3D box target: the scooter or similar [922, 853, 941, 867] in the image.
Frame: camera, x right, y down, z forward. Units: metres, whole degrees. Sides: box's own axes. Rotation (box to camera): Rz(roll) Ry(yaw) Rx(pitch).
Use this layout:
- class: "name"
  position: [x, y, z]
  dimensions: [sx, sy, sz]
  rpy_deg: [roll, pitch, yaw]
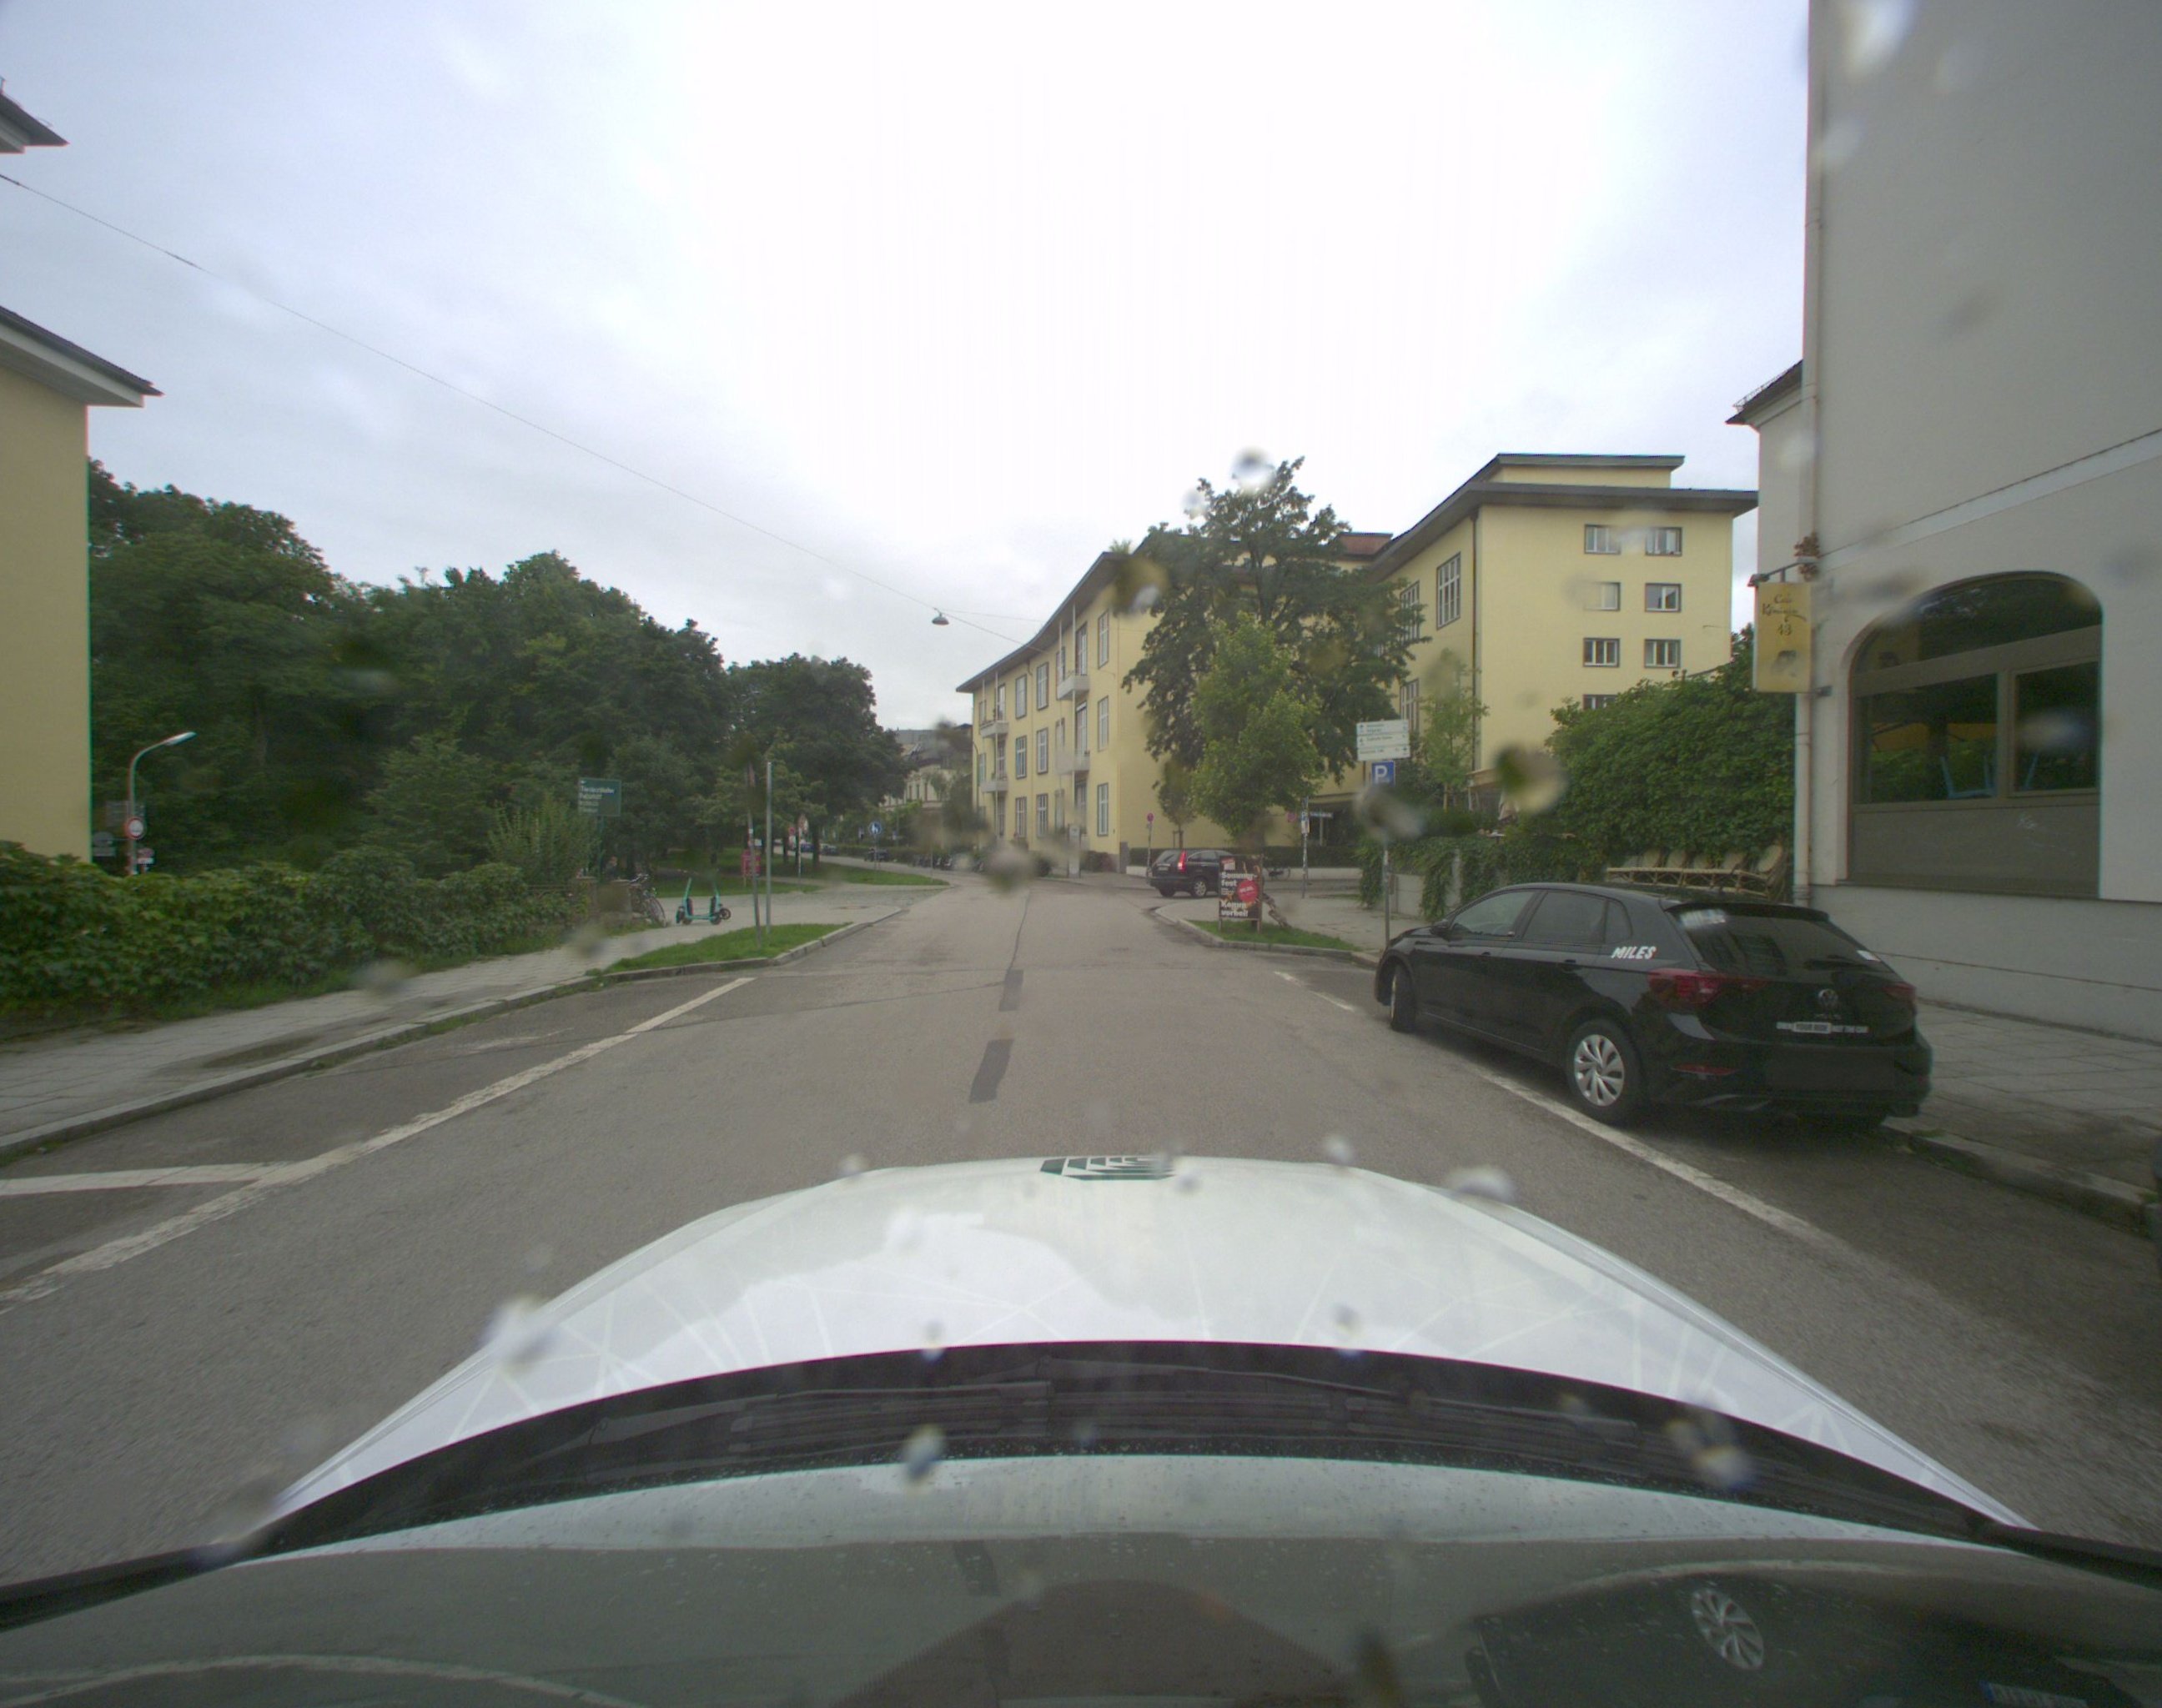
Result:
- class: "scooter or similar"
  position: [-12.073, 0.518, 65.815]
  dimensions: [1.404, 1.088, 0.595]
  rpy_deg: [-1, 1, -9]

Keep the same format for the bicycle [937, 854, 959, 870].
- class: "bicycle"
  position: [-9.662, 0.572, 59.280]
  dimensions: [0.631, 1.085, 1.997]
  rpy_deg: [-1, 1, 23]

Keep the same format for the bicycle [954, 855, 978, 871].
- class: "bicycle"
  position: [-8.195, 0.638, 58.030]
  dimensions: [0.570, 1.085, 1.946]
  rpy_deg: [-1, 1, 31]

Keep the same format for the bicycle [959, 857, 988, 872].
- class: "bicycle"
  position: [-7.366, 0.720, 55.839]
  dimensions: [1.834, 1.005, 0.572]
  rpy_deg: [-1, 1, -29]

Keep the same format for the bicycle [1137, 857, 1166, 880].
- class: "bicycle"
  position: [3.459, 0.685, 40.120]
  dimensions: [0.610, 1.072, 2.204]
  rpy_deg: [-1, 1, -17]

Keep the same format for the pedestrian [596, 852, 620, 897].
- class: "pedestrian"
  position: [-18.729, 0.787, 32.267]
  dimensions: [0.732, 1.752, 0.654]
  rpy_deg: [-1, 0, -22]

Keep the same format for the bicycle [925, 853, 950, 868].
- class: "bicycle"
  position: [-10.866, 0.476, 61.768]
  dimensions: [0.756, 1.085, 2.153]
  rpy_deg: [-1, 1, 23]

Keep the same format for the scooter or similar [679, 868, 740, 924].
- class: "scooter or similar"
  position: [-8.766, 0.980, 19.236]
  dimensions: [0.441, 1.220, 1.189]
  rpy_deg: [-3, 0, 36]

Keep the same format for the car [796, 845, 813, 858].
- class: "car"
  position: [-41.266, -0.410, 121.698]
  dimensions: [1.886, 1.816, 3.965]
  rpy_deg: [0, 0, -27]

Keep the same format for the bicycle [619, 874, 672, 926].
- class: "bicycle"
  position: [-10.384, 1.072, 19.398]
  dimensions: [1.482, 1.134, 0.658]
  rpy_deg: [0, 0, 43]

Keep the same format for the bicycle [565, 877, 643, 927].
- class: "bicycle"
  position: [-11.862, 1.198, 20.274]
  dimensions: [1.718, 1.134, 0.657]
  rpy_deg: [-4, -1, 19]

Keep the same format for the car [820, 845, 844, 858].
- class: "car"
  position: [-31.704, -0.302, 103.572]
  dimensions: [2.188, 1.657, 4.466]
  rpy_deg: [0, 0, -27]

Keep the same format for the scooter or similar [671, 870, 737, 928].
- class: "scooter or similar"
  position: [-8.534, 1.013, 18.460]
  dimensions: [1.173, 1.220, 0.602]
  rpy_deg: [-3, 0, 1]

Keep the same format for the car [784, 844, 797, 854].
- class: "car"
  position: [-50.111, -0.891, 140.509]
  dimensions: [1.653, 1.652, 4.248]
  rpy_deg: [0, 0, -26]

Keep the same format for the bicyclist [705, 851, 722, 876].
- class: "bicyclist"
  position: [-21.414, 0.549, 47.450]
  dimensions: [0.624, 1.460, 0.647]
  rpy_deg: [0, 0, 10]

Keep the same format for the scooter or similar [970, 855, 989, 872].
- class: "scooter or similar"
  position: [-6.784, 0.643, 54.553]
  dimensions: [0.490, 1.109, 1.418]
  rpy_deg: [-1, 1, 27]

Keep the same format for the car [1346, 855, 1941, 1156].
- class: "car"
  position: [3.731, 0.839, 6.405]
  dimensions: [1.700, 1.518, 3.953]
  rpy_deg: [4, 0, -4]

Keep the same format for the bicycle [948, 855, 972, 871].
- class: "bicycle"
  position: [-8.689, 0.653, 58.588]
  dimensions: [0.570, 1.085, 1.946]
  rpy_deg: [-1, 1, 31]

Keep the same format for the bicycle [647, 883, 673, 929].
- class: "bicycle"
  position: [-9.267, 1.124, 17.954]
  dimensions: [0.472, 0.923, 1.194]
  rpy_deg: [0, 0, -26]

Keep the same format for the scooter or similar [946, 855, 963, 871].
- class: "scooter or similar"
  position: [-9.156, 0.626, 58.941]
  dimensions: [0.490, 1.088, 1.418]
  rpy_deg: [-1, 1, 27]

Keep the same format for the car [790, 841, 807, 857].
- class: "car"
  position: [-45.211, -0.800, 130.280]
  dimensions: [1.886, 2.568, 4.889]
  rpy_deg: [0, 0, -27]

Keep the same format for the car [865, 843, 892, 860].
- class: "car"
  position: [-20.172, -0.224, 81.013]
  dimensions: [1.872, 1.633, 4.250]
  rpy_deg: [0, 0, -24]

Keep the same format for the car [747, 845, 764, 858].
- class: "car"
  position: [-47.555, -0.400, 118.957]
  dimensions: [2.004, 1.837, 3.966]
  rpy_deg: [0, 0, -26]

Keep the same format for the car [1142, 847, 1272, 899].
- class: "car"
  position: [4.436, 0.593, 28.375]
  dimensions: [4.400, 1.694, 1.979]
  rpy_deg: [0, 0, -37]

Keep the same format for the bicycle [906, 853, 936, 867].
- class: "bicycle"
  position: [-13.260, 0.515, 67.481]
  dimensions: [2.347, 1.085, 0.686]
  rpy_deg: [-2, 1, -32]

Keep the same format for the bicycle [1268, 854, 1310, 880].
- class: "bicycle"
  position: [9.269, 0.564, 36.334]
  dimensions: [1.727, 1.150, 0.611]
  rpy_deg: [0, 0, 3]

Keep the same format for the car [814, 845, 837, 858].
- class: "car"
  position: [-34.222, -0.311, 109.073]
  dimensions: [2.188, 1.657, 4.466]
  rpy_deg: [0, 0, -27]

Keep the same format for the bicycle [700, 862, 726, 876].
- class: "bicycle"
  position: [-21.412, 0.888, 47.425]
  dimensions: [1.348, 0.776, 0.441]
  rpy_deg: [0, 0, 9]

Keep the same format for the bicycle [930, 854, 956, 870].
- class: "bicycle"
  position: [-10.175, 0.570, 60.004]
  dimensions: [0.689, 1.085, 2.352]
  rpy_deg: [-1, 1, 23]
